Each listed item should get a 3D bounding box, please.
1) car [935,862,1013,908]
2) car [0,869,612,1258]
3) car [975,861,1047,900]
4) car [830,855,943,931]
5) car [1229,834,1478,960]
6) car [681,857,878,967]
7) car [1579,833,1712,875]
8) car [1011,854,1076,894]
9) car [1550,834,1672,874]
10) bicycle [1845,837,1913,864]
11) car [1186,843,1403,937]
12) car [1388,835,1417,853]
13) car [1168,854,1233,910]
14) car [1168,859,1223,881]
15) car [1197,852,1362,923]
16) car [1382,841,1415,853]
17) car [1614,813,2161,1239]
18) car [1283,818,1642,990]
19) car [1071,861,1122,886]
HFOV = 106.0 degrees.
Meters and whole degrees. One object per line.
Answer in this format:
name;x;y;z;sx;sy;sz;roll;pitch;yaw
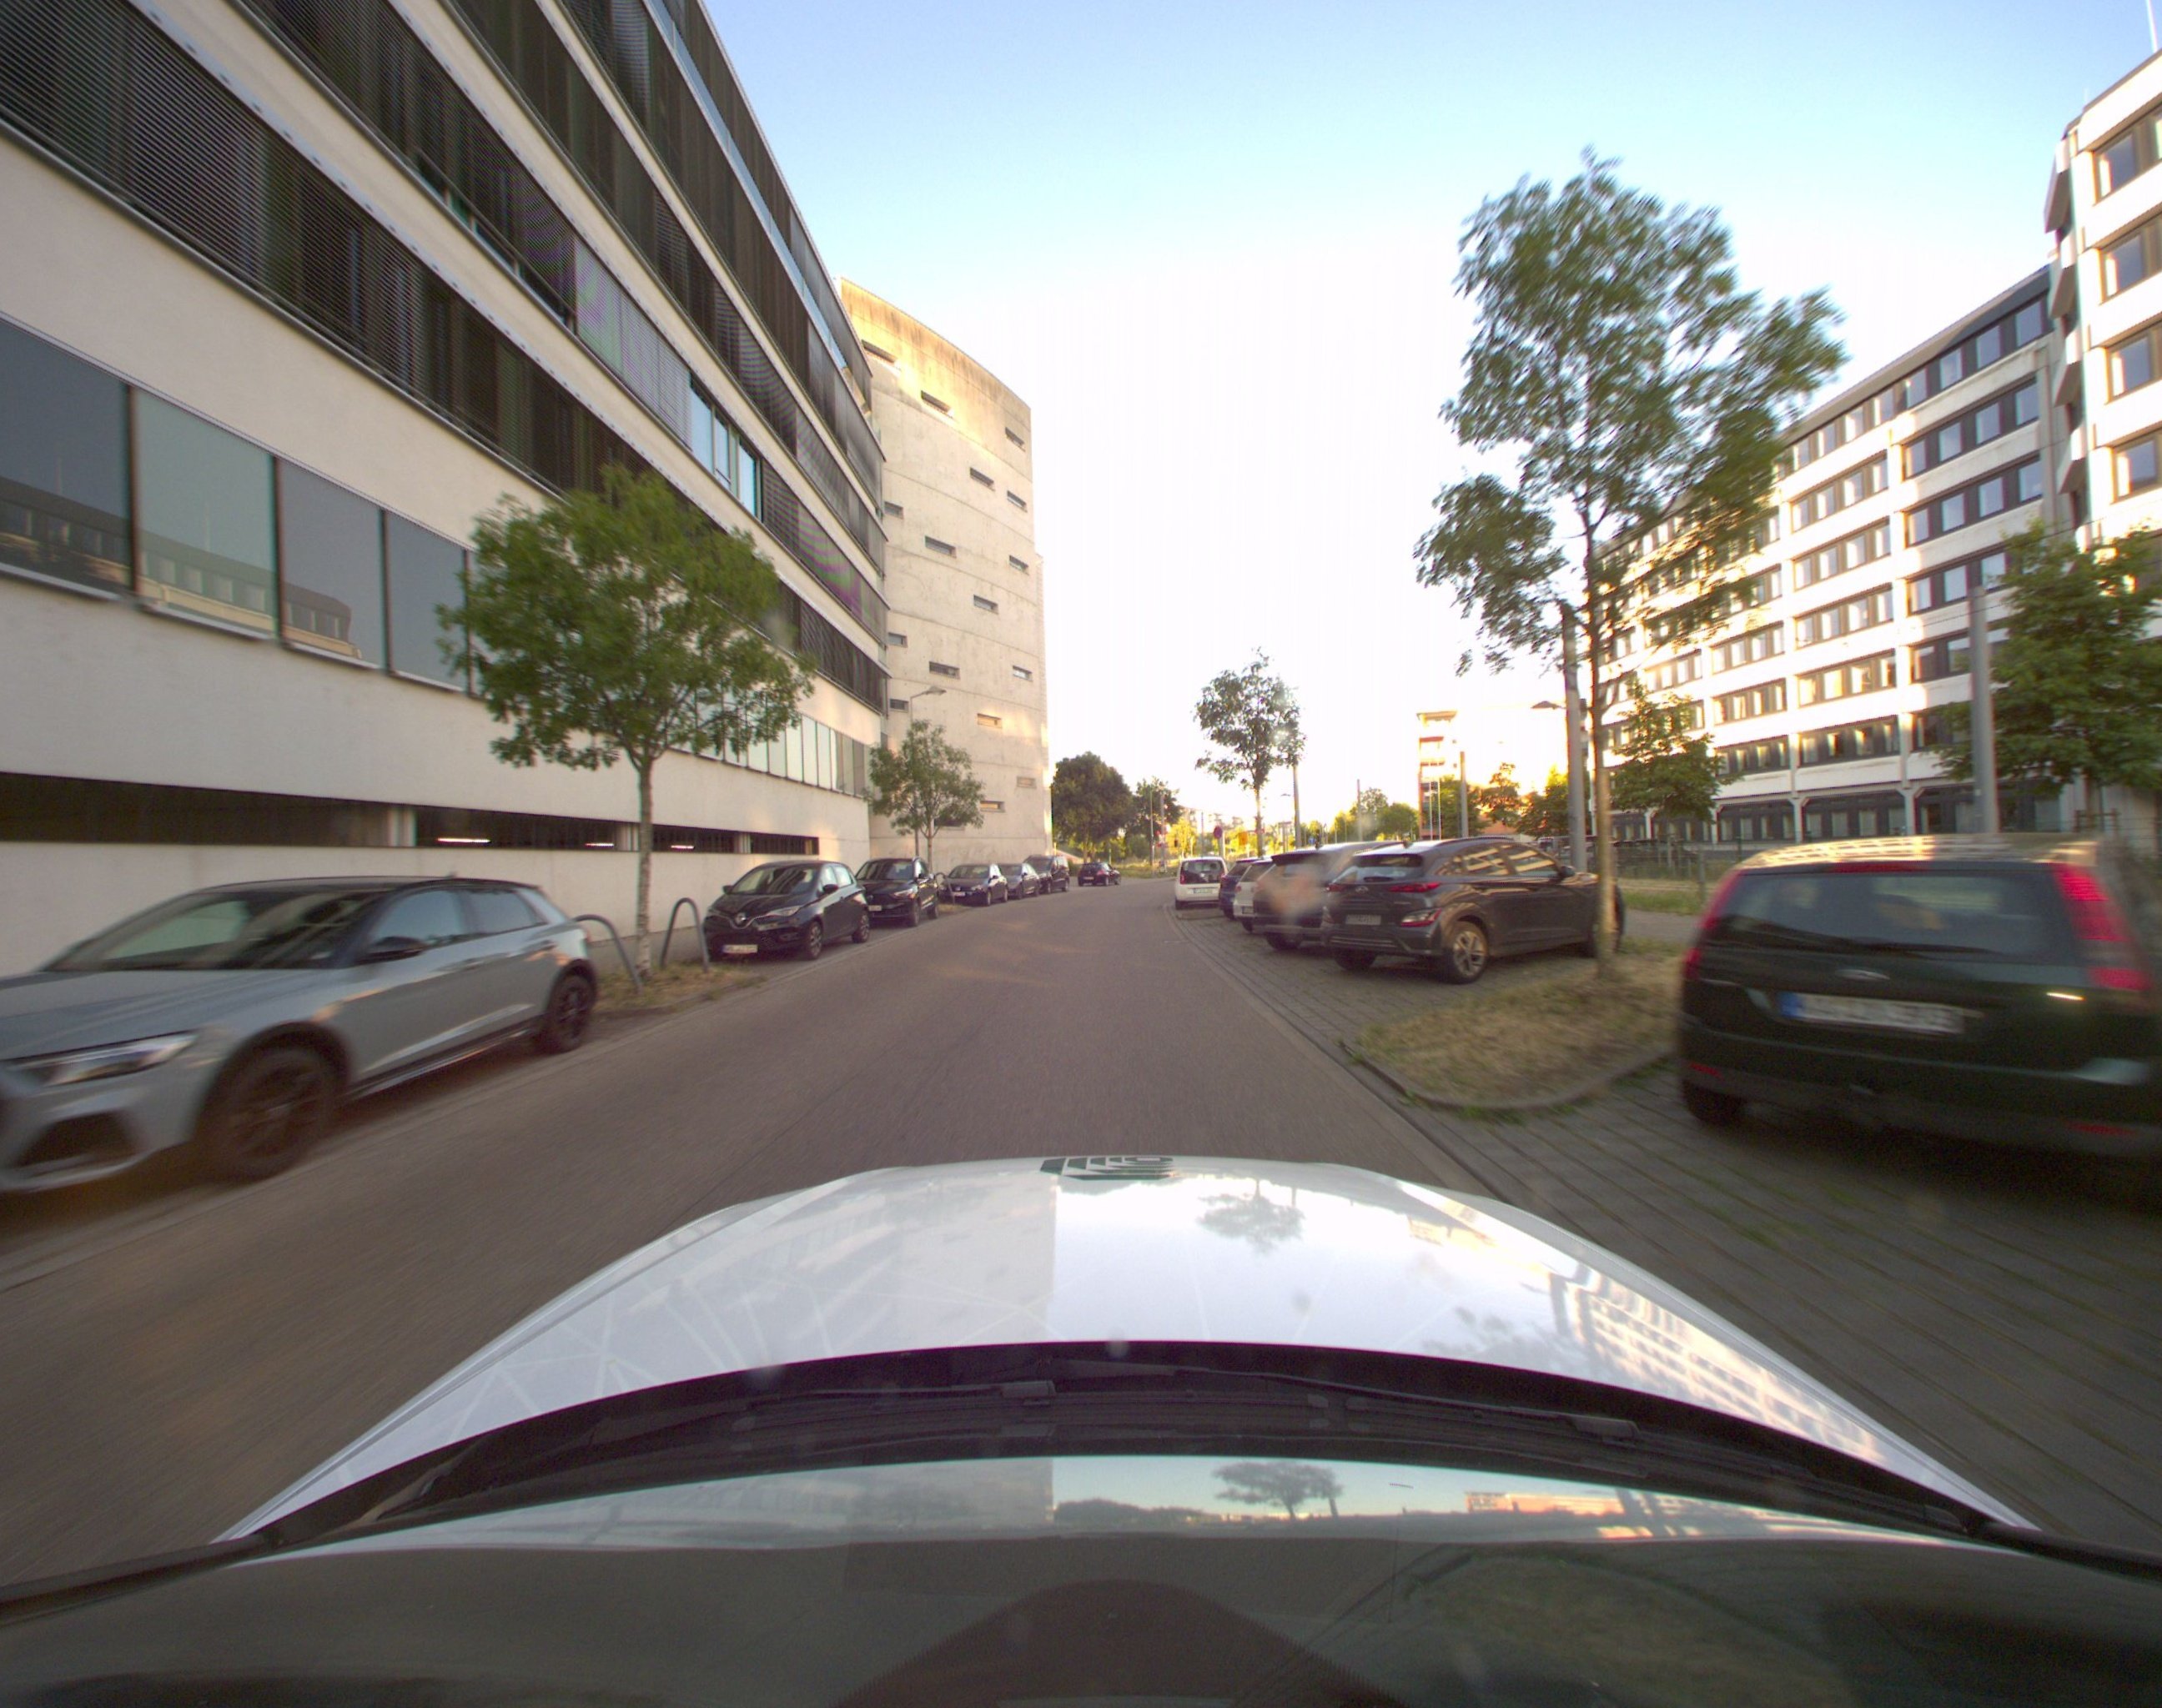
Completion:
car;-3.695;1.043;28.870;1.713;1.457;4.280;0;0;7
car;-4.859;0.863;5.112;1.752;1.439;3.896;0;0;-4
car;-2.839;1.049;33.967;1.711;1.457;4.709;0;0;11
car;-4.586;0.849;19.795;1.750;1.653;3.948;0;0;0
car;4.364;0.573;12.936;3.792;1.725;1.746;-1;0;-32
car;-4.879;0.849;13.844;1.749;1.561;4.044;0;0;1
car;24.096;-0.007;34.883;4.480;1.602;1.694;-2;-1;0
car;-1.743;0.905;39.070;1.744;1.798;4.482;0;0;16
car;24.230;0.003;37.332;4.480;1.602;1.694;-2;-1;0
bicycle;37.426;-0.171;38.249;0.825;1.200;2.432;1;0;1
car;4.344;0.663;16.482;3.944;1.509;1.938;-4;0;-29
car;49.909;-1.536;126.333;4.117;2.584;1.712;-2;-1;23
car;3.611;0.789;24.433;1.712;1.467;3.562;-3;0;9
car;8.161;1.110;57.873;1.761;1.422;4.544;-2;-1;39
car;4.773;0.724;19.439;3.767;1.509;1.671;-1;0;-32
car;45.009;-0.960;115.553;4.115;1.576;1.713;-2;-1;26
car;4.759;0.567;4.505;3.794;1.442;1.744;-1;0;-35
car;4.791;0.516;10.208;3.996;1.640;1.956;-4;-1;-27
car;0.994;1.150;49.345;1.929;1.382;4.419;0;0;17
